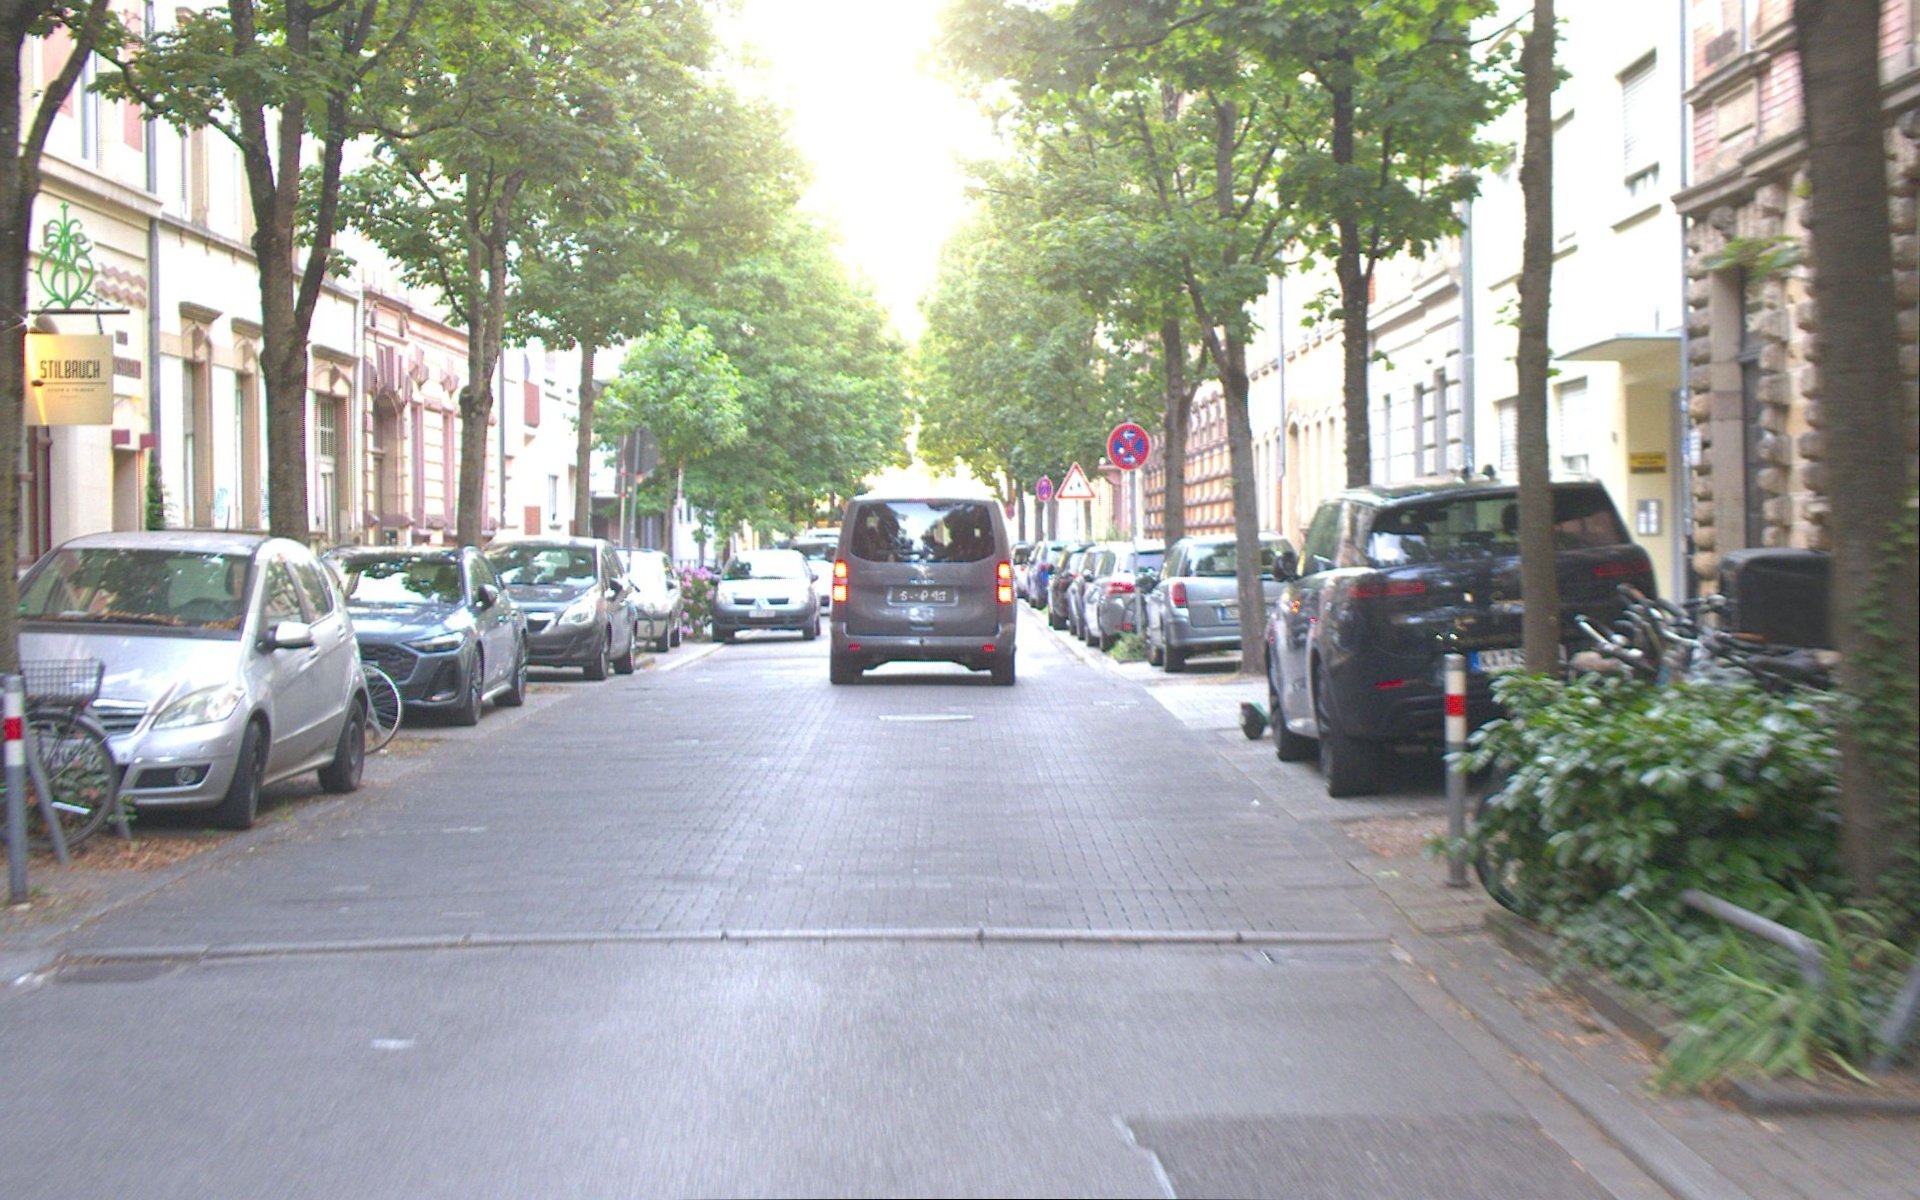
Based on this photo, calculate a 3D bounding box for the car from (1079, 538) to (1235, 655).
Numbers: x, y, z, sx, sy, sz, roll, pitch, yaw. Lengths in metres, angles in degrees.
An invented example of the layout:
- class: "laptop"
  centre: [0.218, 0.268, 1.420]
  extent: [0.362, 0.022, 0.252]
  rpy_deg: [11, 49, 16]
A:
- class: "car"
  centre: [2.681, -0.086, 47.683]
  extent: [1.716, 1.471, 4.369]
  rpy_deg: [-2, 1, -2]

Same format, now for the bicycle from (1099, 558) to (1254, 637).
- class: "bicycle"
  centre: [2.826, -0.042, 44.782]
  extent: [1.915, 0.978, 0.638]
  rpy_deg: [-1, 1, -21]

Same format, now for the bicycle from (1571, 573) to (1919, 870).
- class: "bicycle"
  centre: [3.466, 0.500, 14.443]
  extent: [1.696, 1.194, 0.582]
  rpy_deg: [-1, 1, 3]

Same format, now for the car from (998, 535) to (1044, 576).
- class: "car"
  centre: [2.243, -1.641, 126.190]
  extent: [1.551, 1.491, 3.610]
  rpy_deg: [0, 1, 3]

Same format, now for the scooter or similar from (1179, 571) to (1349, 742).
- class: "scooter or similar"
  centre: [2.244, 0.410, 25.299]
  extent: [0.675, 1.186, 1.113]
  rpy_deg: [-3, 0, 40]

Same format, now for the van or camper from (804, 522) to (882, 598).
- class: "van or camper"
  centre: [-2.948, -1.035, 87.032]
  extent: [1.876, 1.836, 4.753]
  rpy_deg: [-1, 1, -2]

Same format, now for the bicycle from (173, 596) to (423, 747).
- class: "bicycle"
  centre: [-4.750, 0.509, 24.713]
  extent: [1.684, 1.000, 0.430]
  rpy_deg: [2, 1, 2]

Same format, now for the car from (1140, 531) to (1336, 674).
- class: "car"
  centre: [3.058, -0.018, 38.511]
  extent: [1.758, 1.458, 4.308]
  rpy_deg: [-1, 1, -1]

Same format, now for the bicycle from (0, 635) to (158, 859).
- class: "bicycle"
  centre: [-4.874, 0.704, 16.650]
  extent: [1.863, 1.056, 0.596]
  rpy_deg: [1, 1, -19]

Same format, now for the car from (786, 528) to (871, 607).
- class: "car"
  centre: [-2.763, -0.697, 71.771]
  extent: [1.663, 1.558, 4.001]
  rpy_deg: [-1, 1, -3]

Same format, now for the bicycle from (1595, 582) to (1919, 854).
- class: "bicycle"
  centre: [3.667, 0.507, 15.068]
  extent: [1.658, 1.140, 0.582]
  rpy_deg: [-1, 1, 3]

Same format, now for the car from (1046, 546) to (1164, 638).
- class: "car"
  centre: [2.425, -0.166, 58.296]
  extent: [1.766, 1.410, 4.474]
  rpy_deg: [-3, 1, 0]

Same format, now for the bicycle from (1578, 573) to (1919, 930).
- class: "bicycle"
  centre: [3.436, 0.572, 13.628]
  extent: [1.761, 1.289, 0.802]
  rpy_deg: [-3, 1, 0]

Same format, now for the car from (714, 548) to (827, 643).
- class: "car"
  centre: [-2.964, -0.100, 54.400]
  extent: [1.580, 1.415, 3.753]
  rpy_deg: [-1, 1, 0]

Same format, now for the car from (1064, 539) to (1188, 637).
- class: "car"
  centre: [2.539, -0.210, 53.292]
  extent: [1.635, 1.419, 3.565]
  rpy_deg: [-2, 1, -1]

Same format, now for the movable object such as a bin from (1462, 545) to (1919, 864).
- class: "movable object such as a bin"
  centre: [3.519, 0.468, 15.938]
  extent: [2.216, 1.301, 0.771]
  rpy_deg: [-4, 1, 3]

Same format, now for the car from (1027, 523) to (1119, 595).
- class: "car"
  centre: [2.381, -0.883, 73.187]
  extent: [1.627, 1.461, 4.246]
  rpy_deg: [-1, 1, -2]

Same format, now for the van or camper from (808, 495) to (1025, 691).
- class: "van or camper"
  centre: [-0.384, -0.108, 35.580]
  extent: [2.035, 1.891, 4.271]
  rpy_deg: [0, 1, 2]

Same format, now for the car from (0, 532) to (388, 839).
- class: "car"
  centre: [-4.547, 0.414, 20.052]
  extent: [1.676, 1.602, 3.861]
  rpy_deg: [0, 1, 2]

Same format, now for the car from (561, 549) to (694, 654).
- class: "car"
  centre: [-4.794, -0.008, 49.918]
  extent: [1.587, 1.432, 3.566]
  rpy_deg: [1, 1, 0]

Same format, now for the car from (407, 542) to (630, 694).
- class: "car"
  centre: [-4.696, 0.139, 37.133]
  extent: [1.806, 1.512, 4.685]
  rpy_deg: [1, 1, 0]

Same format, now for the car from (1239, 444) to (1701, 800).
- class: "car"
  centre: [2.965, 0.068, 21.060]
  extent: [2.013, 1.827, 4.811]
  rpy_deg: [-3, 1, 0]

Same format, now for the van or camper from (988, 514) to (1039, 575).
- class: "van or camper"
  centre: [2.312, -2.405, 149.892]
  extent: [1.993, 2.590, 5.425]
  rpy_deg: [-1, 1, -1]

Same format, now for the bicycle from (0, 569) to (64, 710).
- class: "bicycle"
  centre: [-7.798, 0.307, 27.937]
  extent: [0.526, 1.094, 1.795]
  rpy_deg: [-1, 1, 1]
